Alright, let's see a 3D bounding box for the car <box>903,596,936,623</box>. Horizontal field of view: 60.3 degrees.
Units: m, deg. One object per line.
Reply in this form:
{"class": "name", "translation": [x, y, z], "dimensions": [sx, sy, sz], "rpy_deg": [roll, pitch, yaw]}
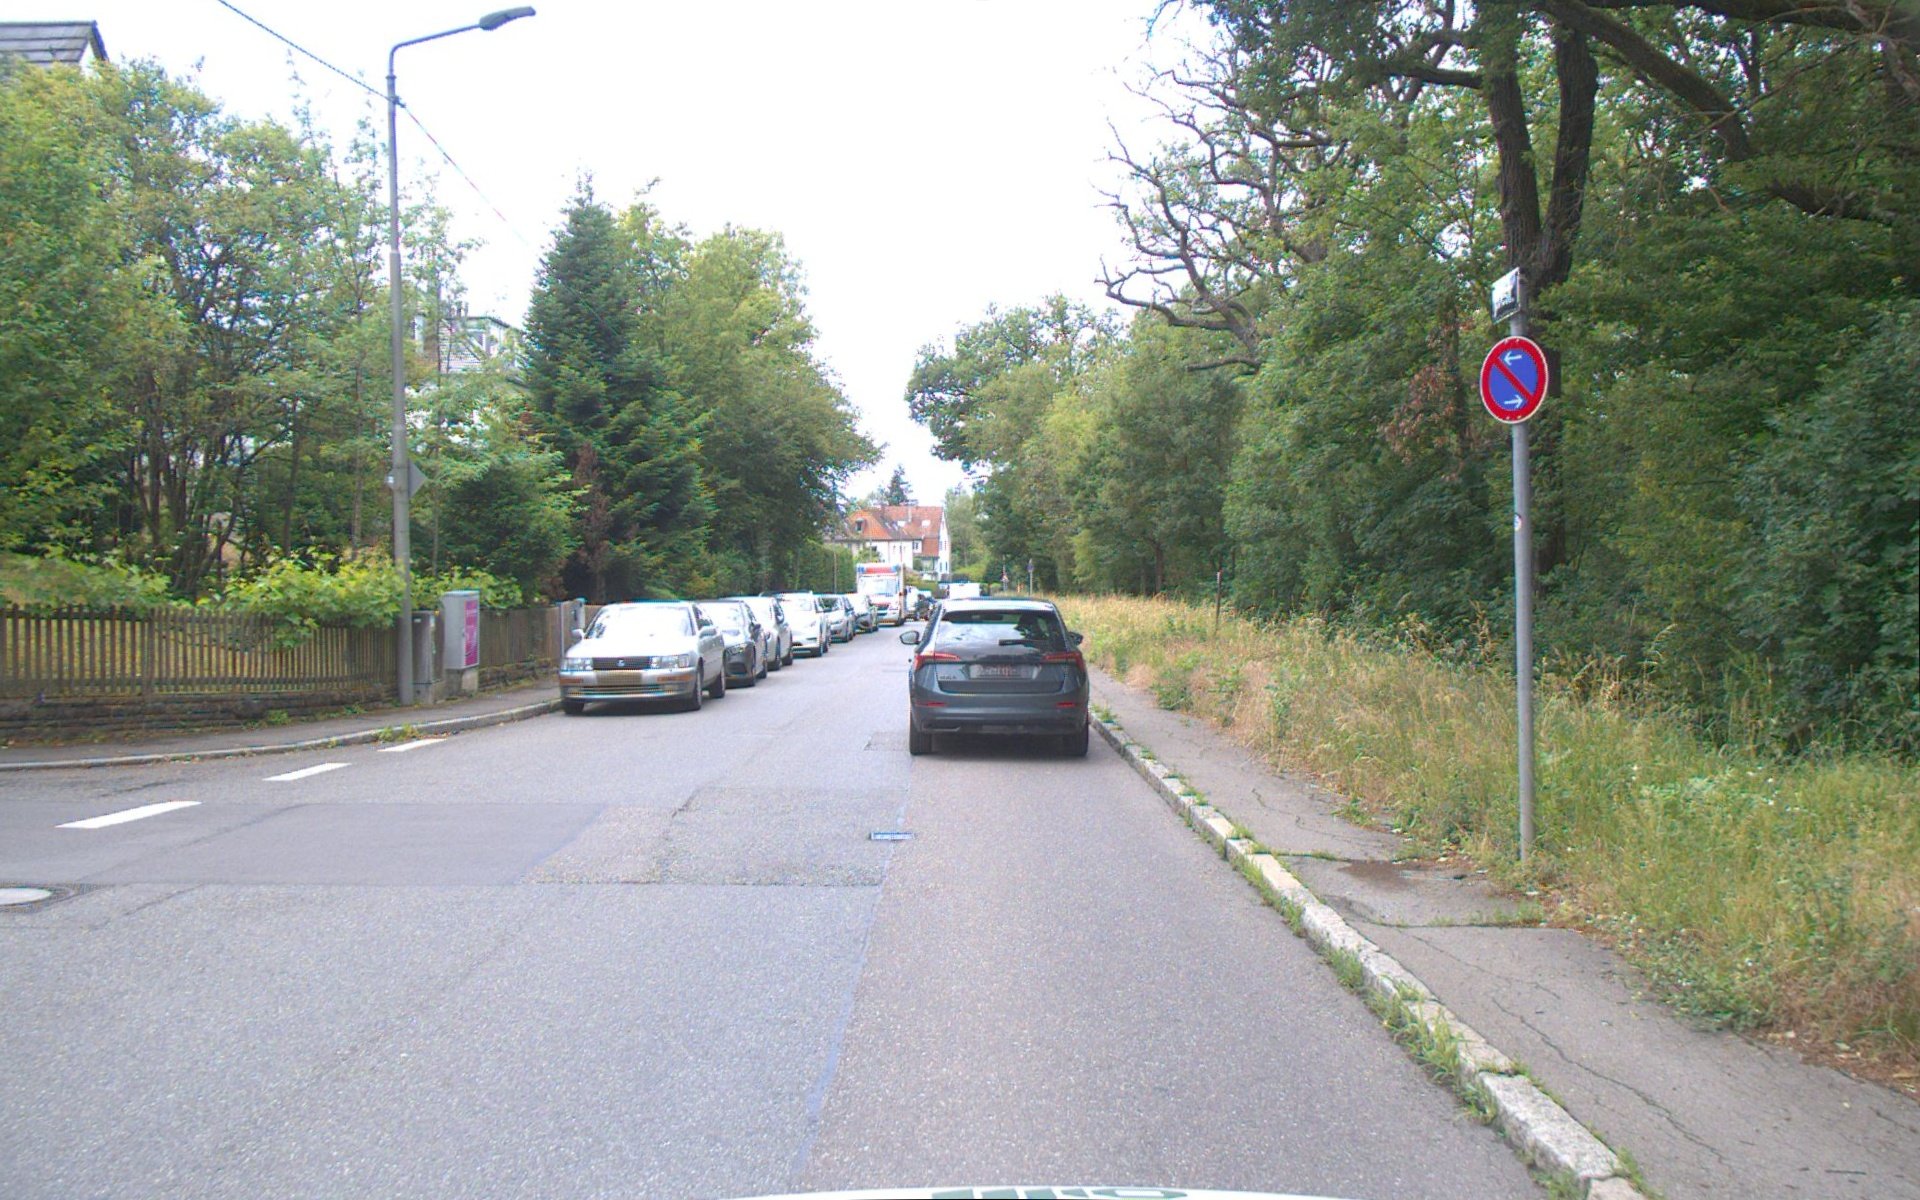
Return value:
{"class": "car", "translation": [-2.412, 0.553, 98.895], "dimensions": [1.727, 1.471, 4.474], "rpy_deg": [-1, 0, 1]}

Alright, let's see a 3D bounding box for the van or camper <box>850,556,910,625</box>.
{"class": "van or camper", "translation": [-3.615, -0.440, 76.086], "dimensions": [2.406, 2.945, 7.167], "rpy_deg": [-1, 0, -1]}

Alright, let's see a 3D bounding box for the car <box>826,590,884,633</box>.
{"class": "car", "translation": [-4.084, 0.435, 64.952], "dimensions": [1.761, 1.531, 4.864], "rpy_deg": [-3, 0, 2]}

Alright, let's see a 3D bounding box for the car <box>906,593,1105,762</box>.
{"class": "car", "translation": [0.336, 0.681, 16.799], "dimensions": [1.693, 1.464, 4.321], "rpy_deg": [0, 1, -3]}

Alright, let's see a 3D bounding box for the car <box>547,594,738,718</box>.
{"class": "car", "translation": [-4.237, 0.683, 22.835], "dimensions": [1.811, 1.464, 4.908], "rpy_deg": [-2, 0, -2]}

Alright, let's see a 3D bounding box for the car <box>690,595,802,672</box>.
{"class": "car", "translation": [-4.430, 0.655, 34.752], "dimensions": [1.797, 1.464, 4.116], "rpy_deg": [-2, 0, 0]}

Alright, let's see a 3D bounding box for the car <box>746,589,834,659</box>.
{"class": "car", "translation": [-4.219, 0.560, 41.751], "dimensions": [1.878, 1.589, 4.601], "rpy_deg": [-3, 0, -3]}

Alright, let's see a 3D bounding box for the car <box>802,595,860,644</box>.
{"class": "car", "translation": [-4.436, 0.648, 57.396], "dimensions": [1.685, 1.531, 4.059], "rpy_deg": [-3, 0, -1]}

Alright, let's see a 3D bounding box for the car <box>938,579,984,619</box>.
{"class": "car", "translation": [0.028, -0.075, 83.609], "dimensions": [2.030, 1.956, 4.919], "rpy_deg": [0, 0, -3]}

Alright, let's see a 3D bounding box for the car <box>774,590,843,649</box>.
{"class": "car", "translation": [-4.277, 0.522, 47.174], "dimensions": [1.686, 1.531, 3.815], "rpy_deg": [-3, 0, -2]}

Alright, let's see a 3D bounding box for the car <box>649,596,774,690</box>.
{"class": "car", "translation": [-4.239, 0.688, 28.746], "dimensions": [1.700, 1.464, 4.260], "rpy_deg": [-2, 0, -3]}

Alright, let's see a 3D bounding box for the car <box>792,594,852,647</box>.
{"class": "car", "translation": [-4.319, 0.615, 52.033], "dimensions": [1.686, 1.531, 4.005], "rpy_deg": [-3, 0, -3]}
